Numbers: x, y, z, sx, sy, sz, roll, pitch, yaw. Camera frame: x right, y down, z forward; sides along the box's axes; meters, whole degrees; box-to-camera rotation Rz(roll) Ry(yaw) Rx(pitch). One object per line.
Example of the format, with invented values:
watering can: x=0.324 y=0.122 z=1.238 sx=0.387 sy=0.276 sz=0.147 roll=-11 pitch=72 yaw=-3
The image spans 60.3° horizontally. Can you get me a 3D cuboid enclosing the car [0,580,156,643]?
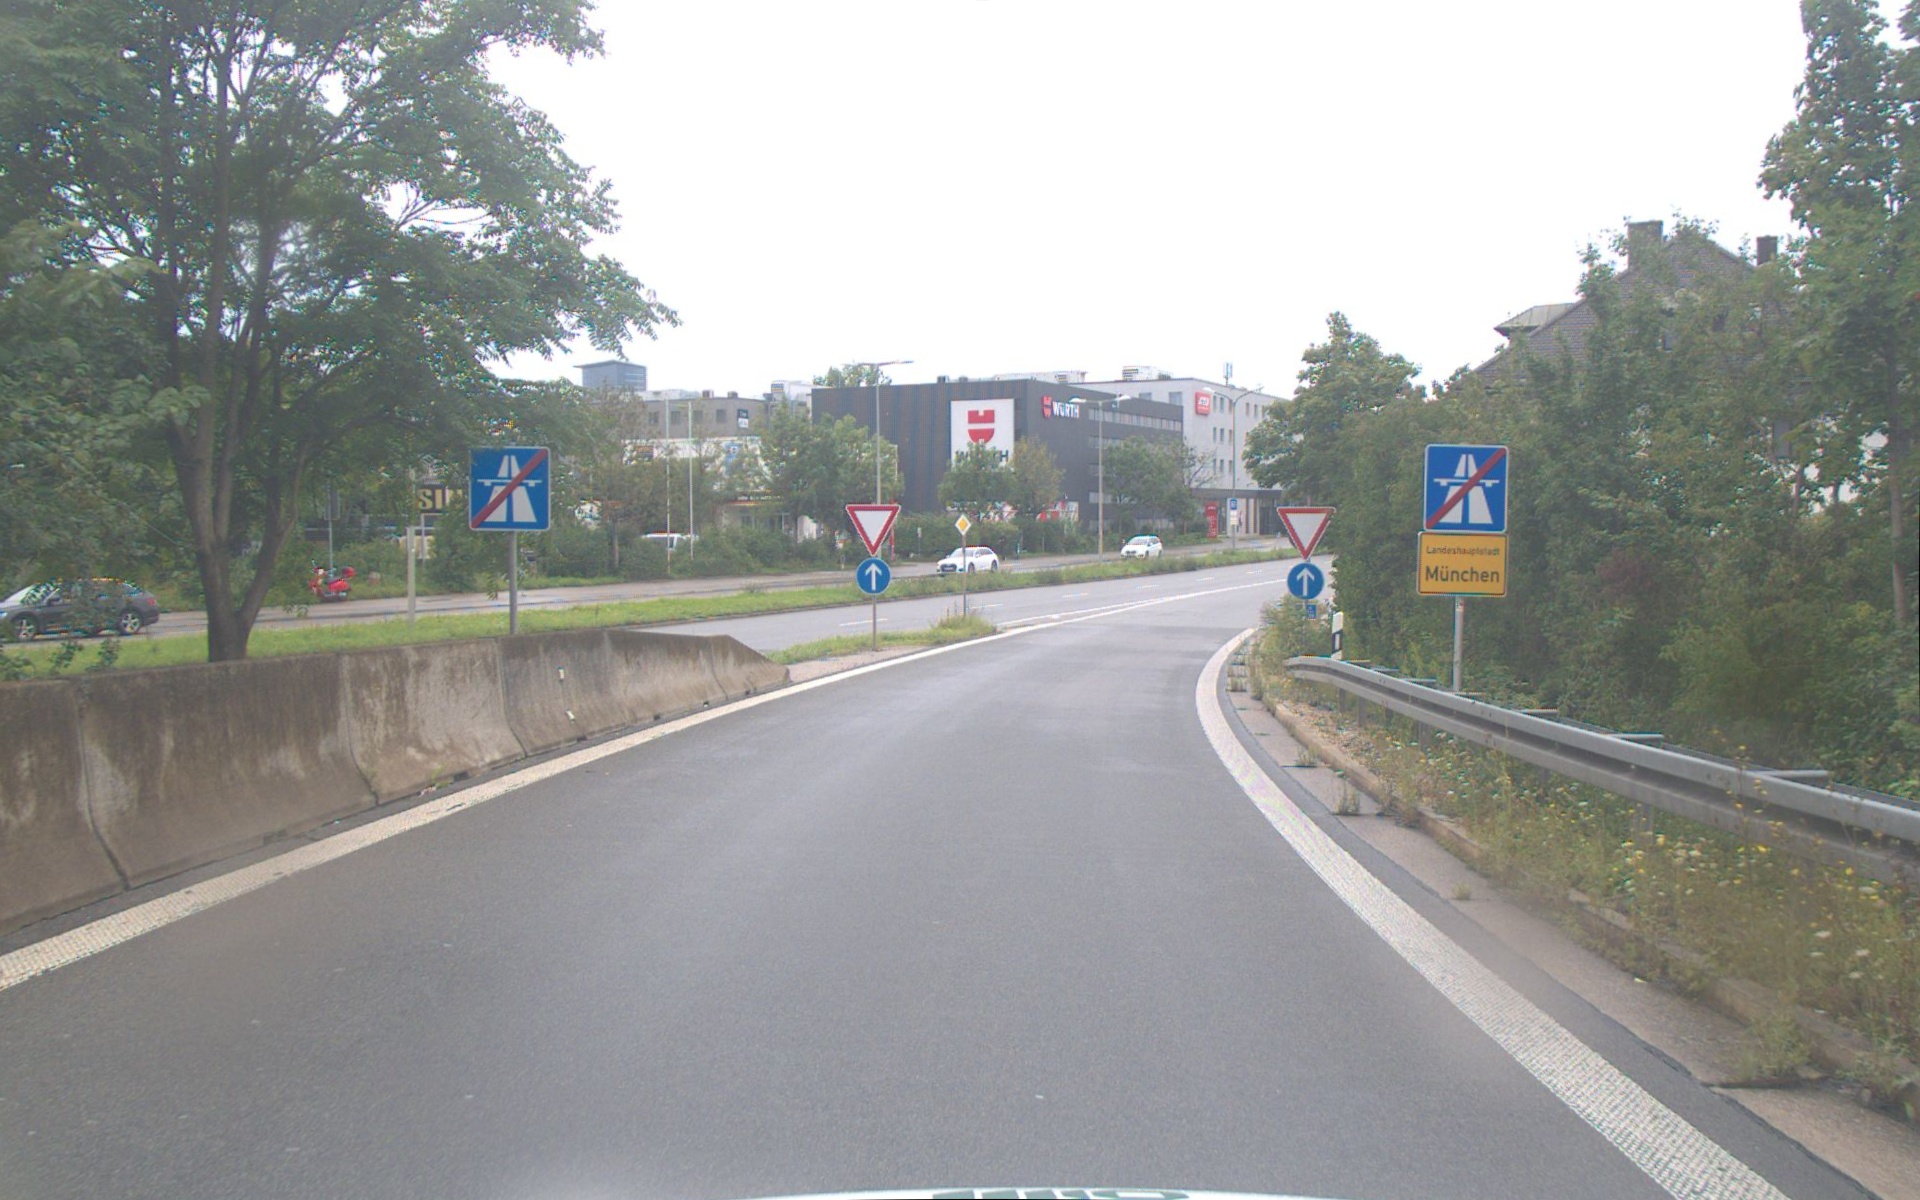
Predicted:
car: x=-23.110 y=0.274 z=41.815 sx=1.930 sy=1.421 sz=4.812 roll=-1 pitch=2 yaw=27

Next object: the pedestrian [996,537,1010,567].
pedestrian: x=2.753 y=-3.085 z=106.547 sx=0.610 sy=1.861 sz=0.817 roll=1 pitch=3 yaw=26

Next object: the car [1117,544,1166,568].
car: x=12.452 y=-3.028 z=113.354 sx=1.954 sy=1.599 sz=4.571 roll=0 pitch=2 yaw=26

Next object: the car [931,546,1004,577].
car: x=0.446 y=-2.086 z=88.919 sx=1.954 sy=1.599 sz=5.116 roll=0 pitch=2 yaw=26

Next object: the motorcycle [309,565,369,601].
motorcycle: x=-21.531 y=-0.603 z=57.363 sx=0.523 sy=1.196 sz=2.195 roll=1 pitch=3 yaw=25

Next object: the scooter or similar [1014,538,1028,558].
scooter or similar: x=4.065 y=-3.466 z=110.301 sx=0.436 sy=1.248 sz=1.387 roll=1 pitch=3 yaw=24
